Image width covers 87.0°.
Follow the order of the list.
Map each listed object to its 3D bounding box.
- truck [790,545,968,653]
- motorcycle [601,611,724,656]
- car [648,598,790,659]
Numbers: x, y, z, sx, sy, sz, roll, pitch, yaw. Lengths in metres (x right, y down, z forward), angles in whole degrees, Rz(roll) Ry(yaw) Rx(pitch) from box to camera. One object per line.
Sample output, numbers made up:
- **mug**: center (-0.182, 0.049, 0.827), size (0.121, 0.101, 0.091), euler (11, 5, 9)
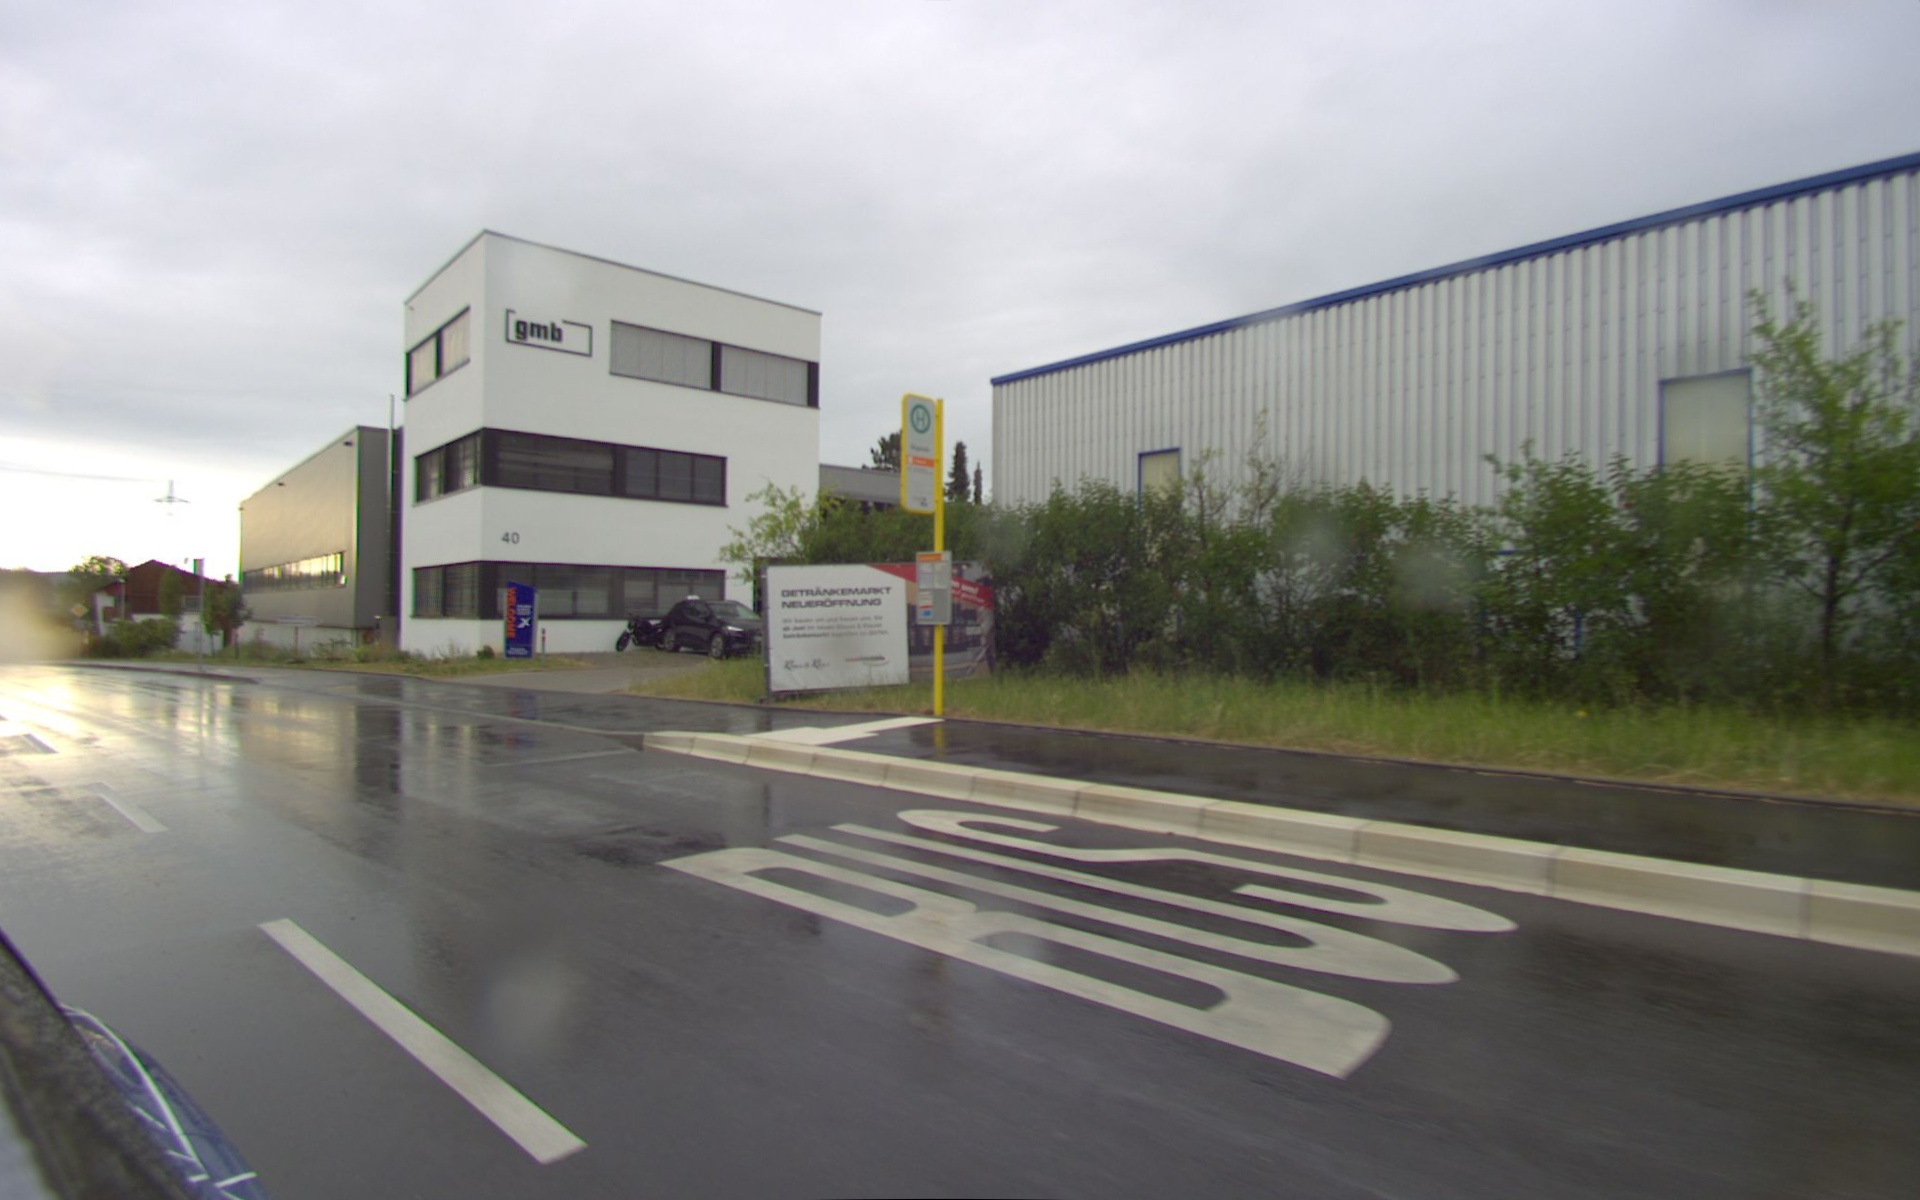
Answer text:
- **truck**: center (-3.153, 0.042, 37.284), size (2.637, 3.603, 7.346), euler (0, -1, -41)
- **motorcycle**: center (-9.086, 1.011, 31.137), size (3.639, 1.253, 0.778), euler (0, -1, -41)
- **car**: center (-7.020, 0.817, 29.157), size (1.831, 1.608, 4.608), euler (0, -2, -45)
